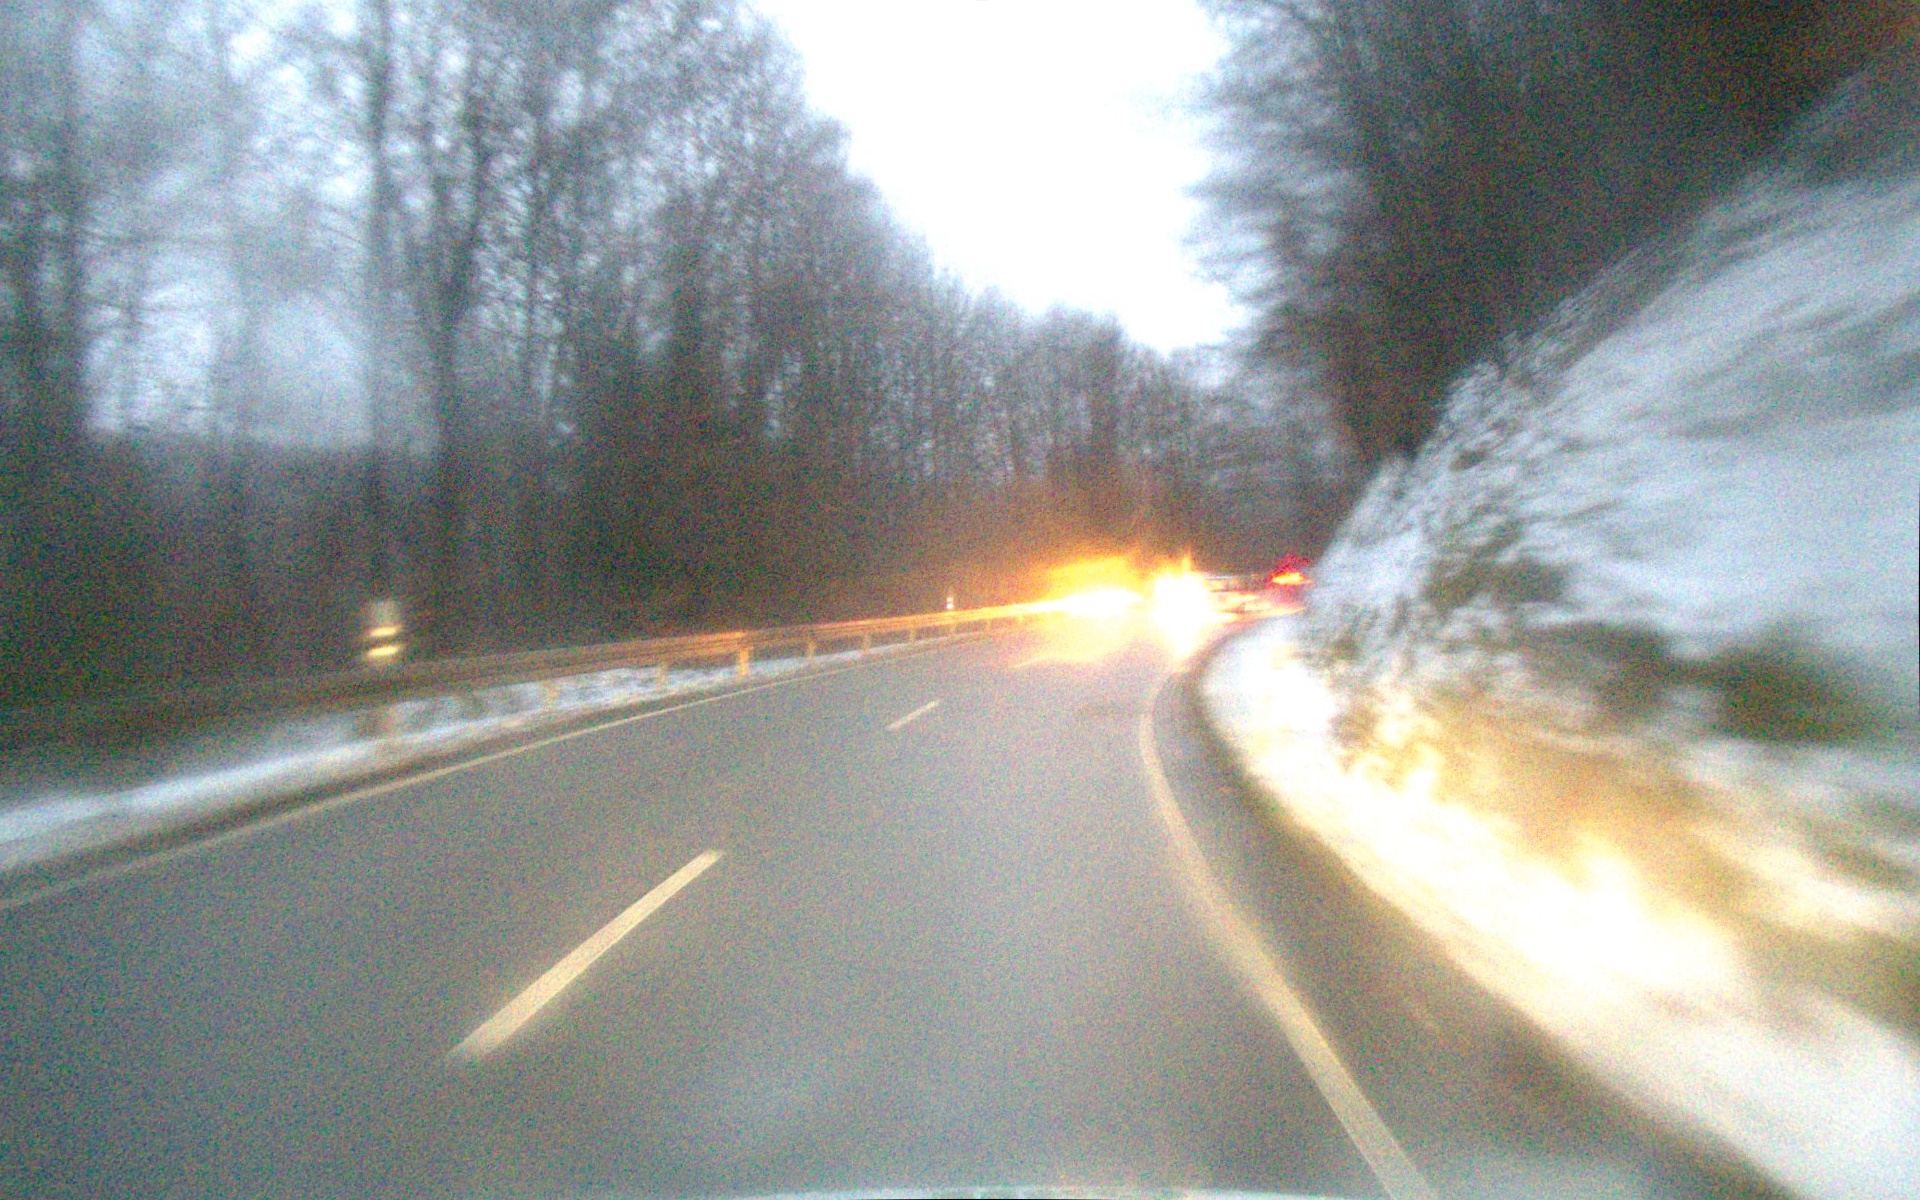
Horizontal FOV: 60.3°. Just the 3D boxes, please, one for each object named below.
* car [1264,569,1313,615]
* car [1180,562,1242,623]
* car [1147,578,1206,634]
[{"bbox_3d":[15.529,-0.358,78.071,1.828,1.952,4.001,2,-2,17],"label":"car"},{"bbox_3d":[8.229,-0.214,54.299,1.951,1.905,4.003,0,-1,8],"label":"car"},{"bbox_3d":[9.536,0.291,72.615,2.015,2.189,4.002,0,-3,15],"label":"car"}]
